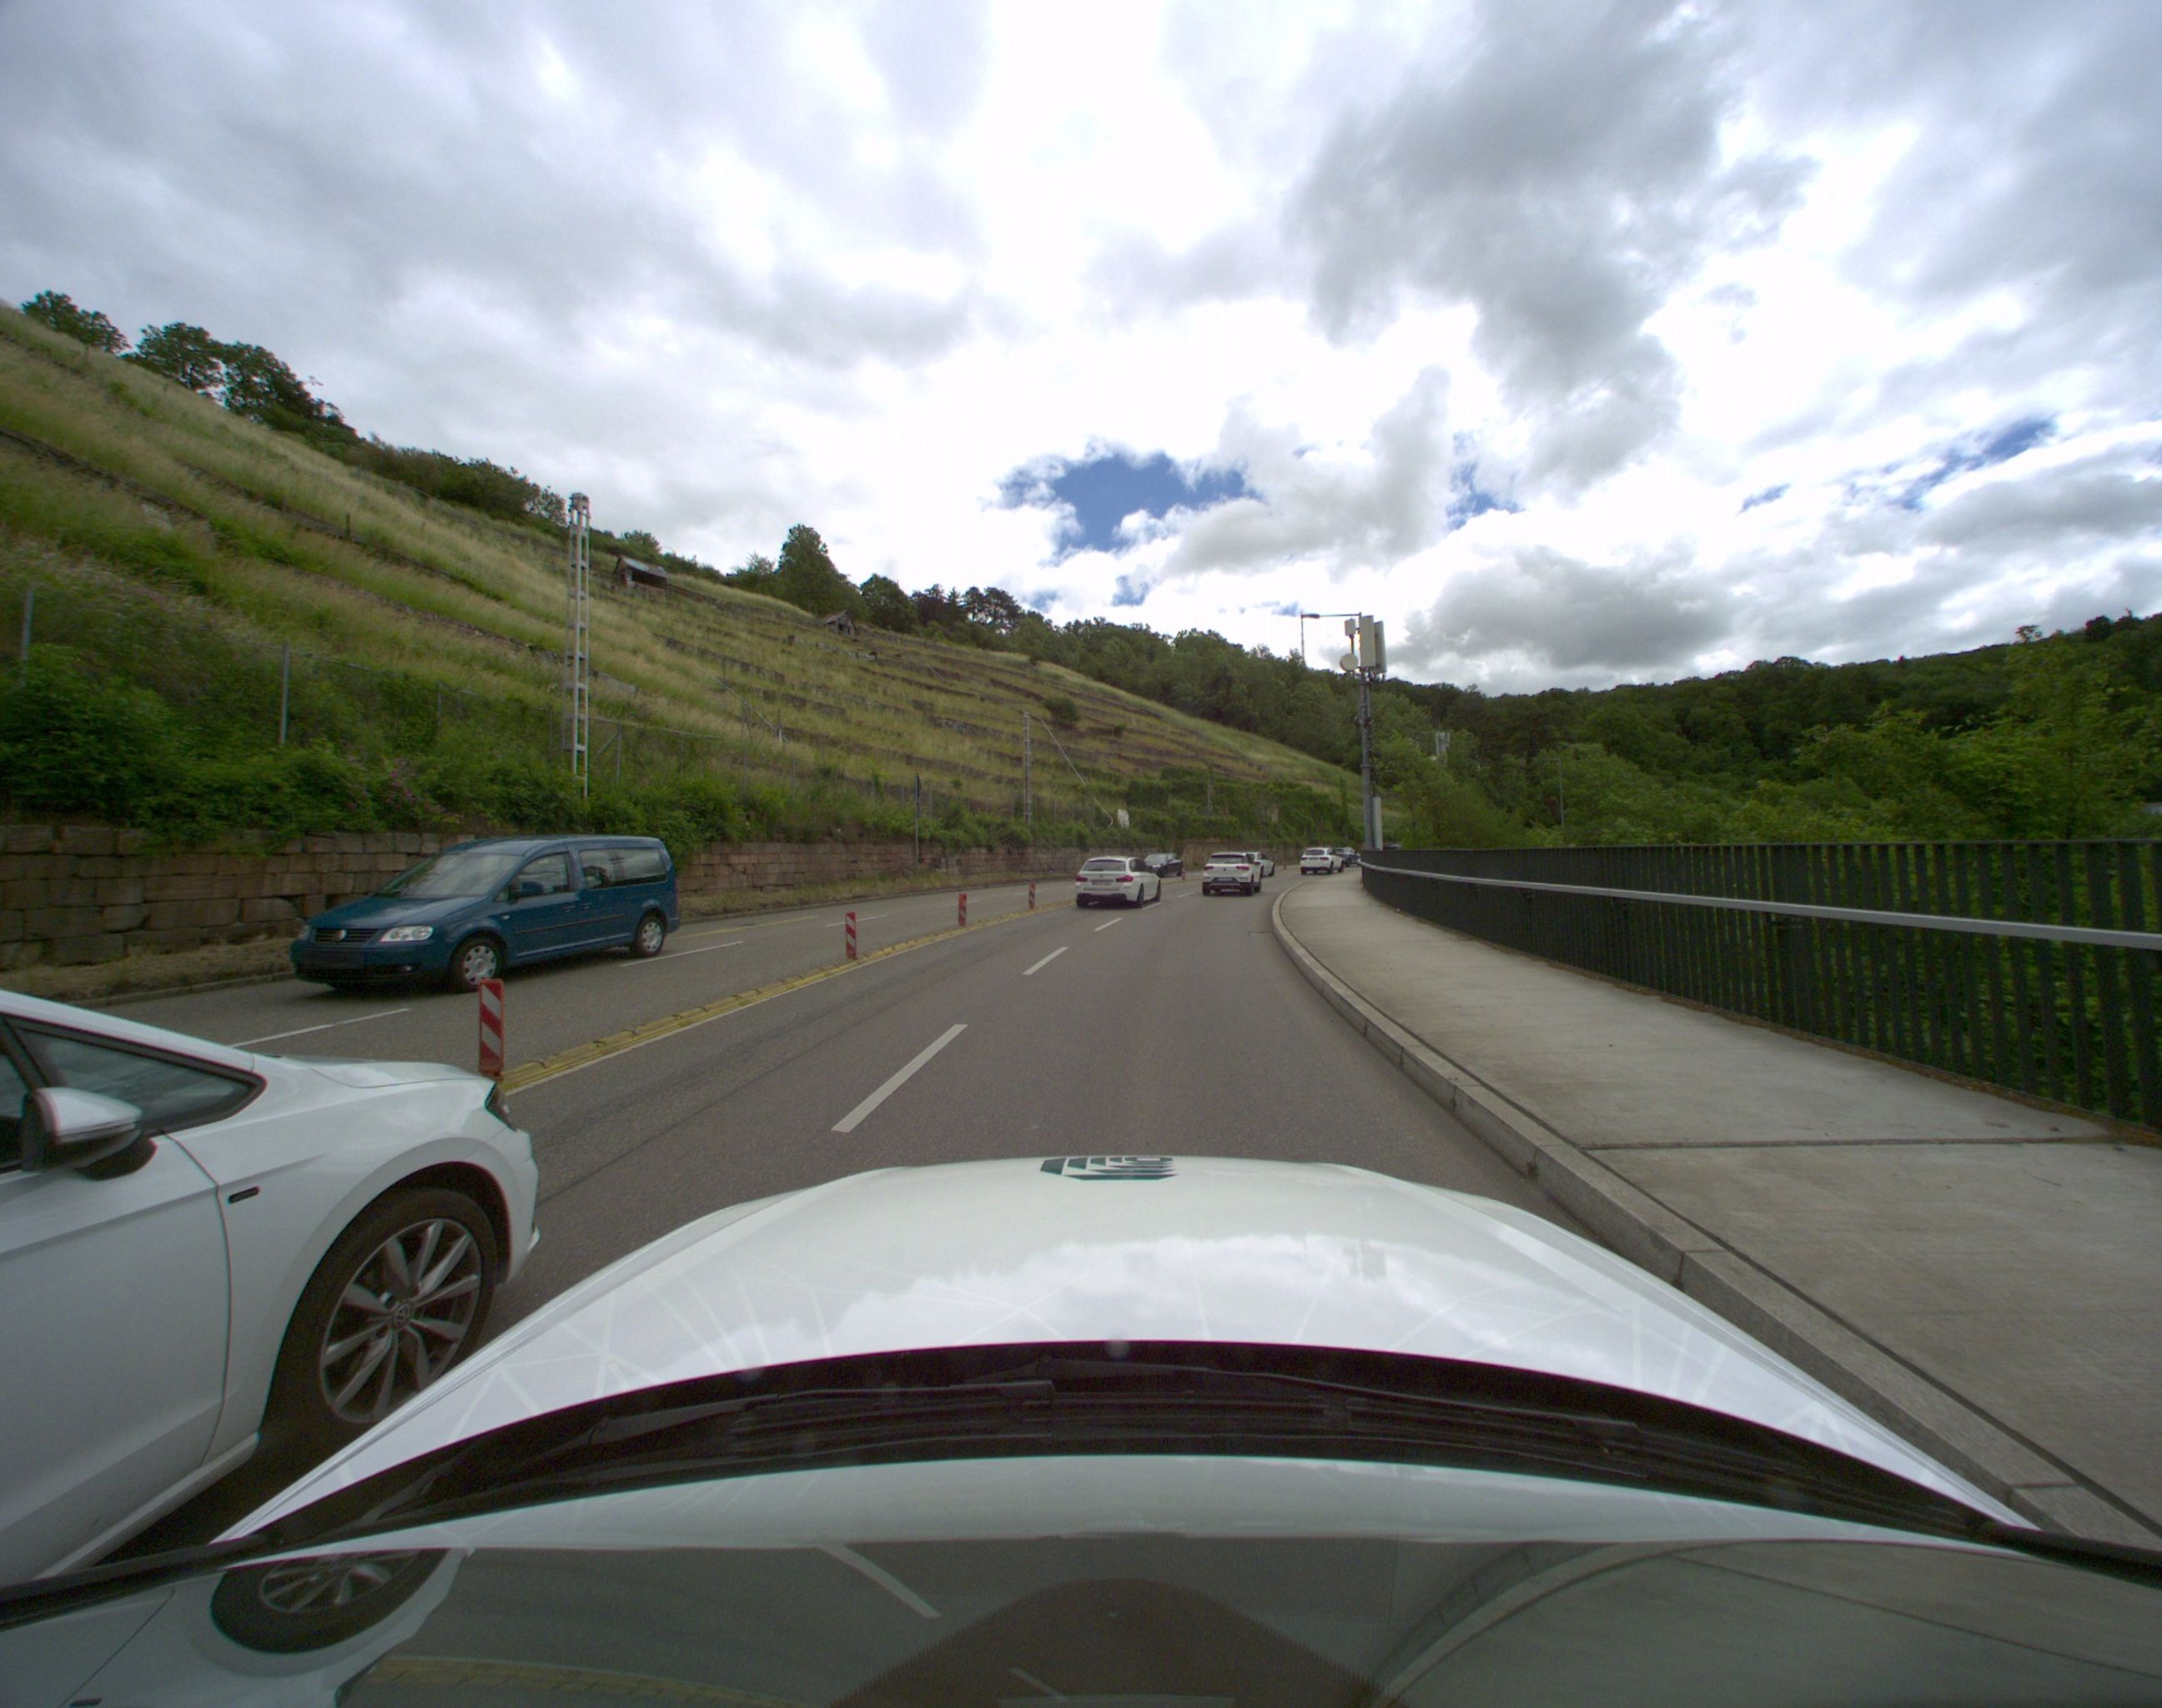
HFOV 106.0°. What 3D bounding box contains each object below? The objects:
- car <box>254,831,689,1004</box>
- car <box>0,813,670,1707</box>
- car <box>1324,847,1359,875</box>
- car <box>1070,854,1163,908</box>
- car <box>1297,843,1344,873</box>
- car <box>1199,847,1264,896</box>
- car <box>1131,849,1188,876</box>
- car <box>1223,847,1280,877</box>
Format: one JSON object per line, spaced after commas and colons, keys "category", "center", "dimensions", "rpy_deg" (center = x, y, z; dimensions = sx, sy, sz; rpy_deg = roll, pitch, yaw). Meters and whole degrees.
{"category": "car", "center": [-7.516, 0.628, 10.846], "dimensions": [1.841, 1.782, 4.743], "rpy_deg": [0, 1, 7]}
{"category": "car", "center": [-2.622, 0.735, 1.004], "dimensions": [1.813, 1.580, 4.360], "rpy_deg": [0, 0, 3]}
{"category": "car", "center": [20.712, 0.521, 64.615], "dimensions": [1.975, 2.014, 4.023], "rpy_deg": [-5, -2, 25]}
{"category": "car", "center": [1.166, 0.731, 24.267], "dimensions": [1.814, 1.459, 4.504], "rpy_deg": [0, 0, 15]}
{"category": "car", "center": [14.871, 0.281, 50.376], "dimensions": [1.975, 1.718, 4.138], "rpy_deg": [-2, -2, 28]}
{"category": "car", "center": [5.626, 0.593, 30.089], "dimensions": [1.813, 1.605, 4.019], "rpy_deg": [1, 1, 18]}
{"category": "car", "center": [4.701, 0.458, 48.358], "dimensions": [1.833, 1.413, 4.442], "rpy_deg": [0, 1, 28]}
{"category": "car", "center": [9.801, 0.427, 46.552], "dimensions": [1.975, 1.503, 4.695], "rpy_deg": [3, 1, 27]}
